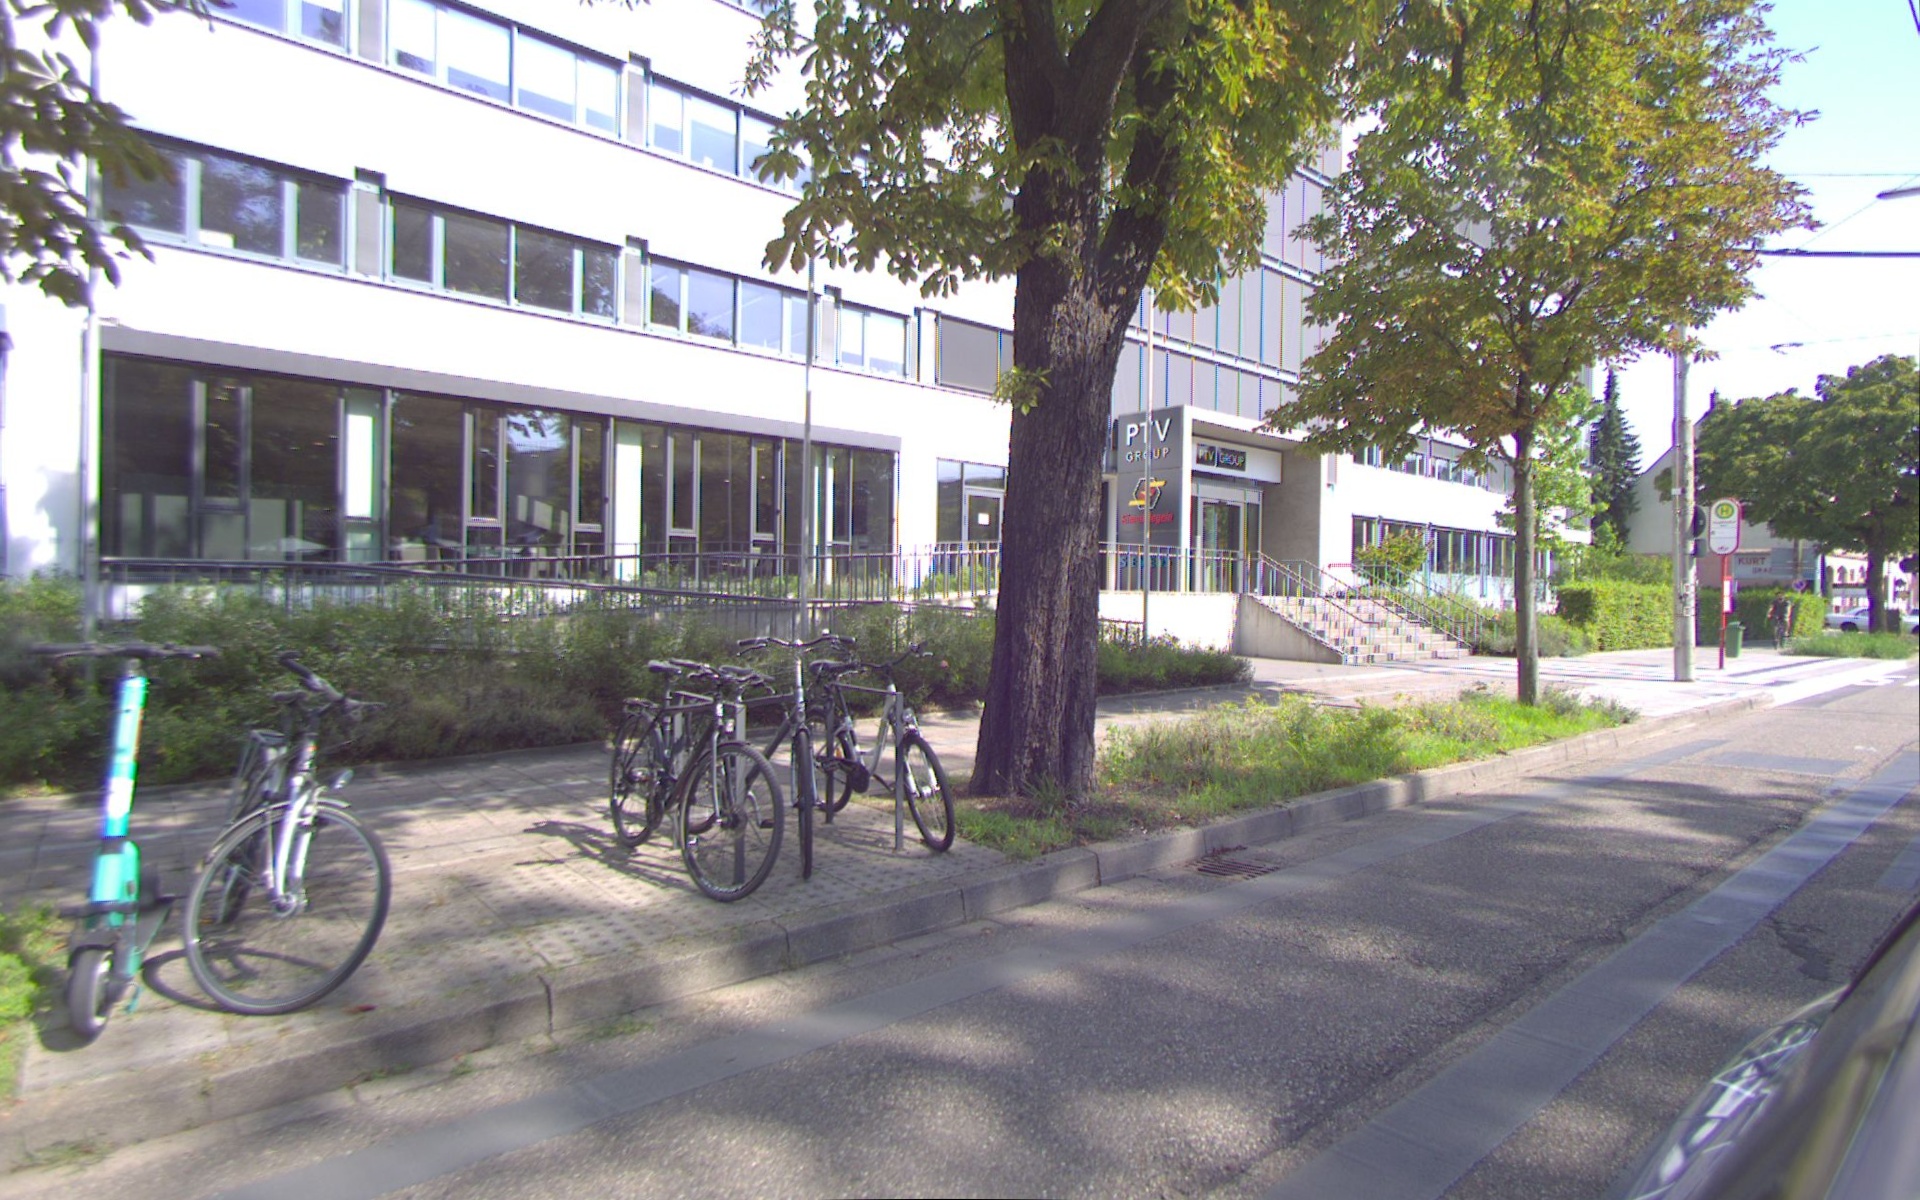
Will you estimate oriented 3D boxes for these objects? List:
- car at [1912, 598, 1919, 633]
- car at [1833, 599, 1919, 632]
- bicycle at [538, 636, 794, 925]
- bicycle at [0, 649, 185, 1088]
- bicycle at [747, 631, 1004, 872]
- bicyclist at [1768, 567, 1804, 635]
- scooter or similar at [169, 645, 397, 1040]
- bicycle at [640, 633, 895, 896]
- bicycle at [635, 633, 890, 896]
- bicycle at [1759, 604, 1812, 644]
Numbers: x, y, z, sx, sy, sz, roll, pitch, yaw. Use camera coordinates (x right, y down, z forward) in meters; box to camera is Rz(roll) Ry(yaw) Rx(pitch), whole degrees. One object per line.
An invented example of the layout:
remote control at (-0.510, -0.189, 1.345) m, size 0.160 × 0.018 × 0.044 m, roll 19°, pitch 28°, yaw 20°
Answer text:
car at (56.374, 0.873, 58.418) m, size 1.956 × 1.946 × 4.481 m, roll 1°, pitch 0°, yaw 45°
car at (45.829, 0.766, 49.554) m, size 1.929 × 1.534 × 4.541 m, roll 0°, pitch 1°, yaw -45°
bicycle at (-1.531, 0.781, 5.057) m, size 0.531 × 1.085 × 1.774 m, roll 1°, pitch 1°, yaw -41°
bicycle at (-3.135, 0.786, 3.574) m, size 0.531 × 1.085 × 1.774 m, roll 1°, pitch 1°, yaw -41°
bicycle at (-0.555, 0.778, 5.876) m, size 0.531 × 1.085 × 1.774 m, roll 1°, pitch 1°, yaw -41°
bicyclist at (25.391, 0.014, 31.108) m, size 0.780 × 2.039 × 1.255 m, roll 0°, pitch 0°, yaw 43°
scooter or similar at (-2.710, 0.784, 3.966) m, size 0.531 × 1.085 × 1.774 m, roll 1°, pitch 1°, yaw -41°
bicycle at (-1.104, 0.779, 5.466) m, size 0.531 × 1.085 × 1.774 m, roll 1°, pitch 1°, yaw -41°
bicycle at (-1.127, 0.779, 5.460) m, size 0.531 × 1.085 × 1.774 m, roll 1°, pitch 1°, yaw -41°
bicycle at (25.447, 0.705, 31.180) m, size 1.135 × 1.139 × 2.498 m, roll 1°, pitch 0°, yaw 42°
